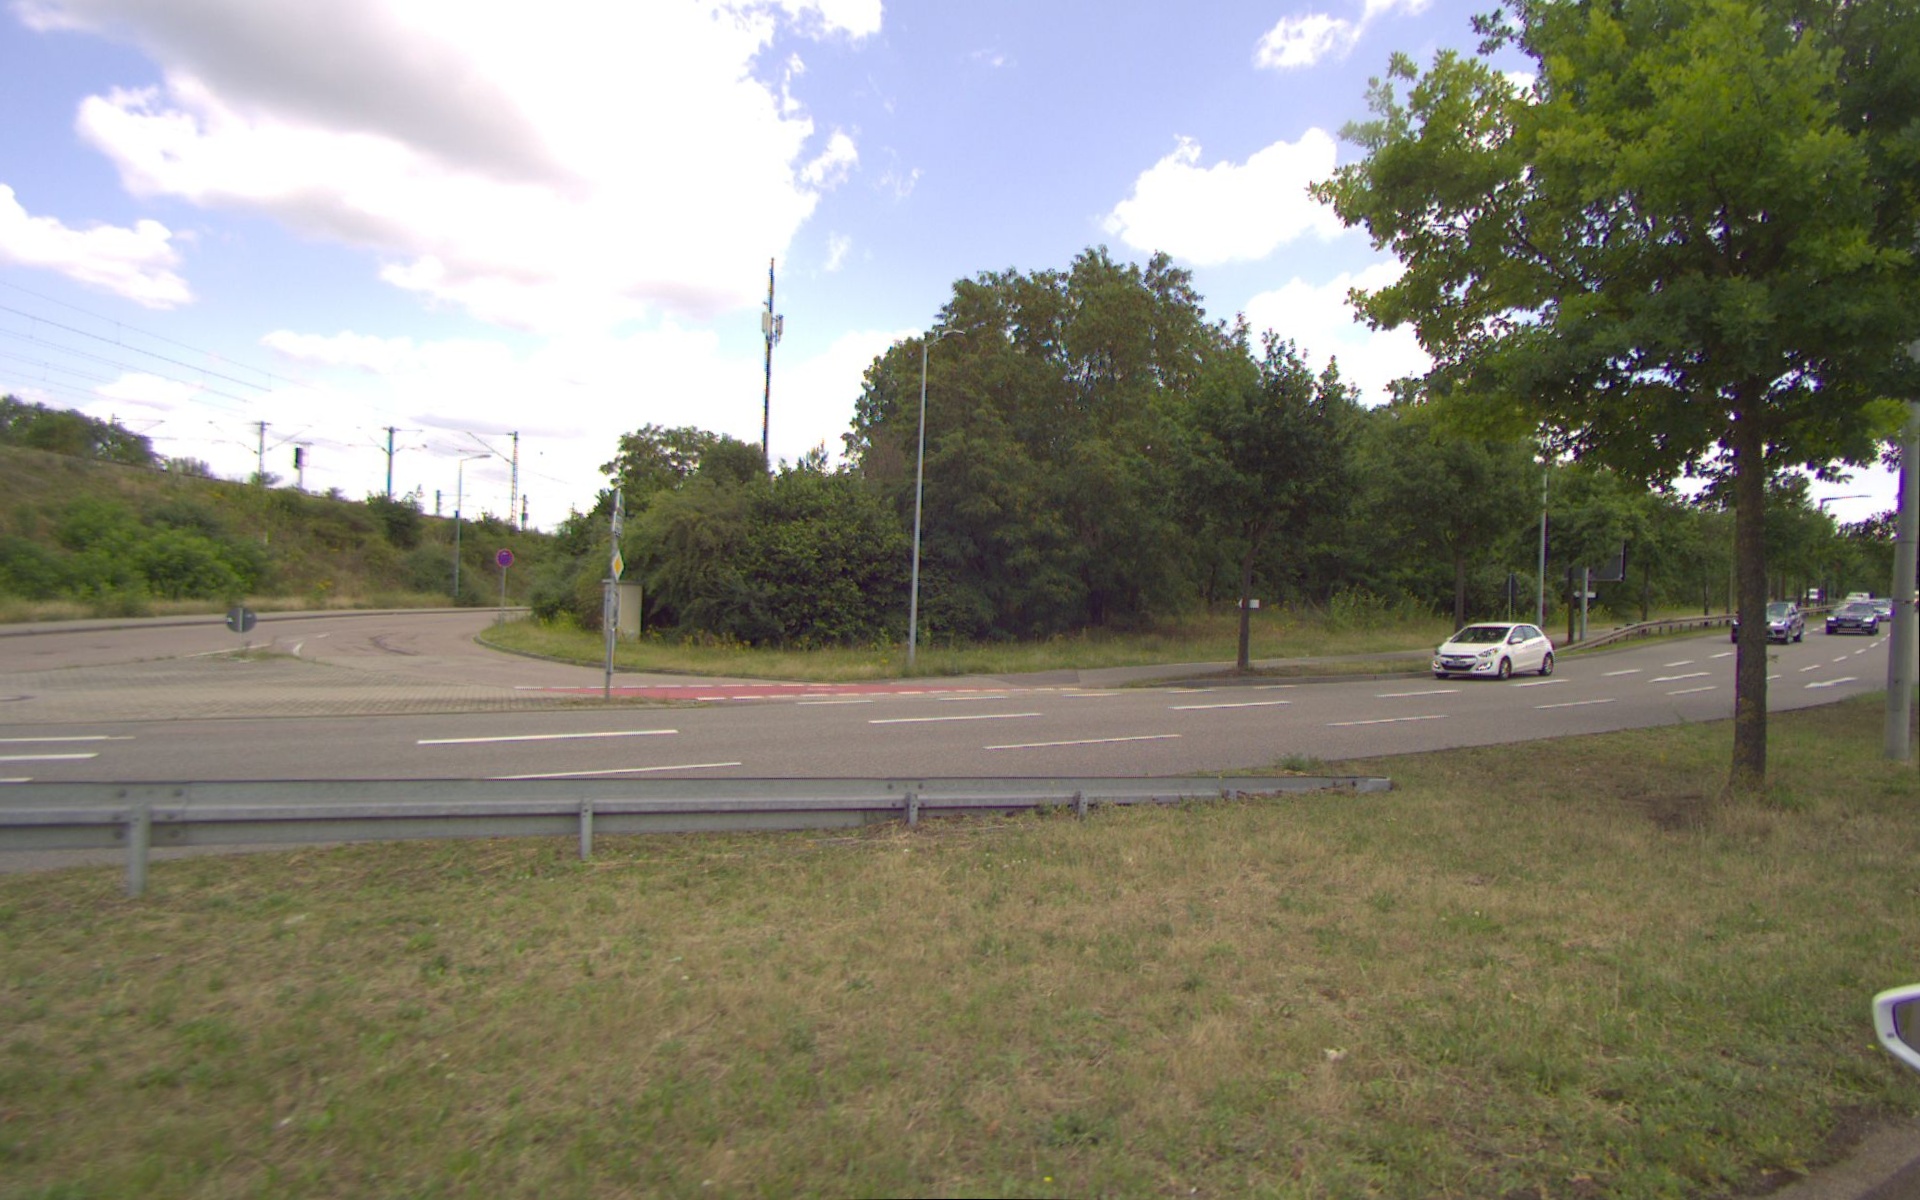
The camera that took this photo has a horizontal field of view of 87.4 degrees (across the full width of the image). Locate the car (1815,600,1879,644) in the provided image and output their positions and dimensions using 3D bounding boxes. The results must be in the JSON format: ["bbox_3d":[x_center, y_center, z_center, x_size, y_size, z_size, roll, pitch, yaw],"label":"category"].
[{"bbox_3d":[45.721,1.082,51.740,4.783,2.041,1.974,-1,2,-43],"label":"car"}]

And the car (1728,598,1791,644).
[{"bbox_3d":[35.518,0.922,44.583,1.970,1.886,4.691,2,0,41],"label":"car"}]

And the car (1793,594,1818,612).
[{"bbox_3d":[102.922,0.342,122.252,1.971,2.041,4.532,4,3,42],"label":"car"}]

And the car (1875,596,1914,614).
[{"bbox_3d":[74.833,0.396,80.391,4.541,1.381,1.886,1,-1,-42],"label":"car"}]

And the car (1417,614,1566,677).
[{"bbox_3d":[14.473,1.227,27.298,4.292,1.552,1.979,2,-2,-37],"label":"car"}]

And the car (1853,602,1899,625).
[{"bbox_3d":[63.367,0.895,69.435,4.665,1.415,1.975,-1,2,-43],"label":"car"}]
